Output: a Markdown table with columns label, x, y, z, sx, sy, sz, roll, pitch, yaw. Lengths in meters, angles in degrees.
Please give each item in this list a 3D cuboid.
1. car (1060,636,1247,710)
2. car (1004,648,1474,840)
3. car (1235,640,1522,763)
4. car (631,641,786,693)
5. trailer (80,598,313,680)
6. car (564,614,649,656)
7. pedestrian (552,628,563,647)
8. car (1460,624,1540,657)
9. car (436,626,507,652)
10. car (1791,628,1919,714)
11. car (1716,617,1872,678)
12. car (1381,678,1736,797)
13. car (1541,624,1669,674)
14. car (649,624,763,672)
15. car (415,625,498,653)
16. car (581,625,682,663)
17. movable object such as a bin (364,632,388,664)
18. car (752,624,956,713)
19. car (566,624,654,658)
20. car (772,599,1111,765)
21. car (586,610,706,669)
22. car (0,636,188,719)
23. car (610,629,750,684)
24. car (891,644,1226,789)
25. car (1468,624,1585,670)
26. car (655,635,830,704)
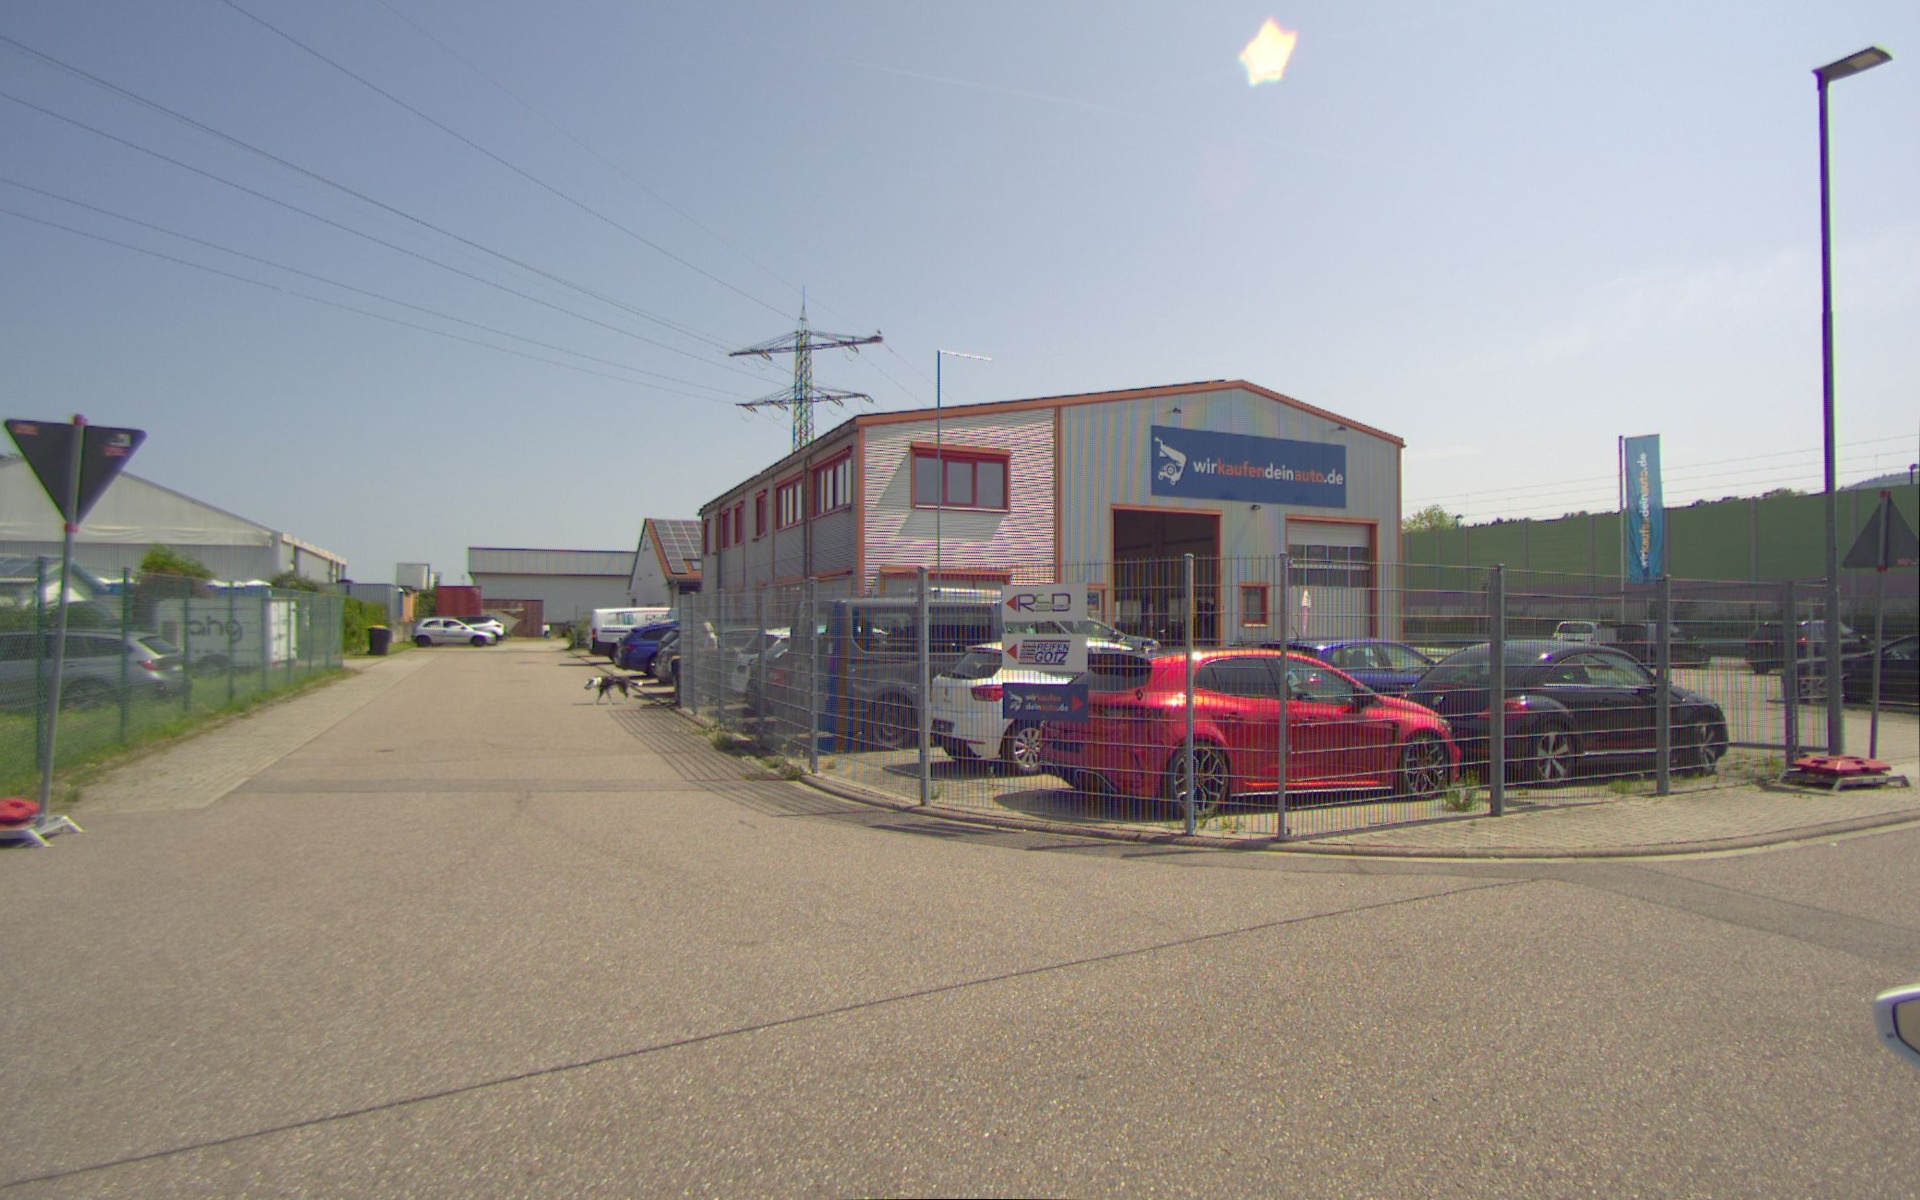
| label | x | y | z | sx | sy | sz | roll | pitch | yaw |
| --- | --- | --- | --- | --- | --- | --- | --- | --- | --- |
| car | 4.184 | 1.516 | 21.615 | 3.842 | 1.473 | 1.479 | 1 | -2 | -26 |
| car | 2.632 | 1.190 | 9.460 | 4.058 | 1.405 | 1.864 | 1 | -2 | -25 |
| car | 5.799 | 1.311 | 13.871 | 3.842 | 1.473 | 1.479 | 1 | -2 | -26 |
| car | -6.299 | 1.643 | 25.196 | 3.555 | 1.167 | 1.498 | 1 | -2 | -26 |
| trailer | -19.272 | 0.977 | 25.558 | 4.382 | 1.971 | 1.711 | 0 | -1 | -10 |
| car | -17.567 | 1.732 | 49.942 | 3.854 | 2.040 | 1.498 | 1 | -1 | -26 |
| pedestrian | -35.374 | 3.287 | 88.292 | 0.830 | 1.621 | 0.473 | 0 | -1 | -12 |
| car | 28.417 | 2.129 | 52.874 | 3.944 | 1.679 | 1.694 | 1 | -1 | -24 |
| car | -25.716 | 2.045 | 52.895 | 3.292 | 1.359 | 1.655 | 1 | -2 | -27 |
| car | 17.711 | 1.251 | 17.931 | 1.970 | 1.512 | 3.981 | 0 | -2 | -21 |
| car | 23.497 | 1.310 | 28.297 | 3.948 | 1.602 | 1.987 | 1 | -2 | -27 |
| car | 6.840 | 1.473 | 11.426 | 4.058 | 1.020 | 1.479 | 1 | -2 | -26 |
| car | 22.055 | 1.631 | 34.341 | 3.948 | 1.602 | 1.987 | 1 | -2 | -27 |
| car | -8.572 | 1.591 | 33.915 | 3.555 | 1.564 | 1.498 | 1 | -2 | -26 |
| car | -25.189 | 1.929 | 50.400 | 3.634 | 1.359 | 1.656 | 1 | -2 | -26 |
| car | -13.790 | 1.808 | 42.197 | 3.854 | 1.536 | 1.498 | 1 | -2 | -26 |
| movable object such as a bin | -21.868 | 1.789 | 37.639 | 0.739 | 1.149 | 0.933 | 1 | -1 | -30 |
| car | -1.999 | 1.246 | 19.040 | 3.555 | 1.560 | 1.498 | 1 | -2 | -26 |
| car | -16.739 | 1.942 | 48.079 | 3.854 | 1.580 | 1.498 | 1 | -2 | -26 |
| car | -0.251 | 1.072 | 14.301 | 4.456 | 2.057 | 1.945 | 1 | -2 | -26 |
| car | -11.174 | 1.382 | 35.743 | 3.854 | 2.005 | 1.812 | 1 | -2 | -25 |
| car | -15.244 | 1.234 | 16.321 | 4.086 | 1.277 | 1.227 | 1 | -2 | -26 |
| car | -7.719 | 1.514 | 27.714 | 3.555 | 1.435 | 1.498 | 1 | -2 | -26 |
| car | 1.151 | 1.256 | 11.780 | 3.555 | 1.423 | 1.740 | 1 | -2 | -25 |
| car | 21.119 | 1.715 | 37.441 | 3.948 | 1.602 | 1.987 | 1 | -2 | -27 |
| car | -4.801 | 1.486 | 22.240 | 3.555 | 1.399 | 1.498 | 1 | -2 | -26 |
